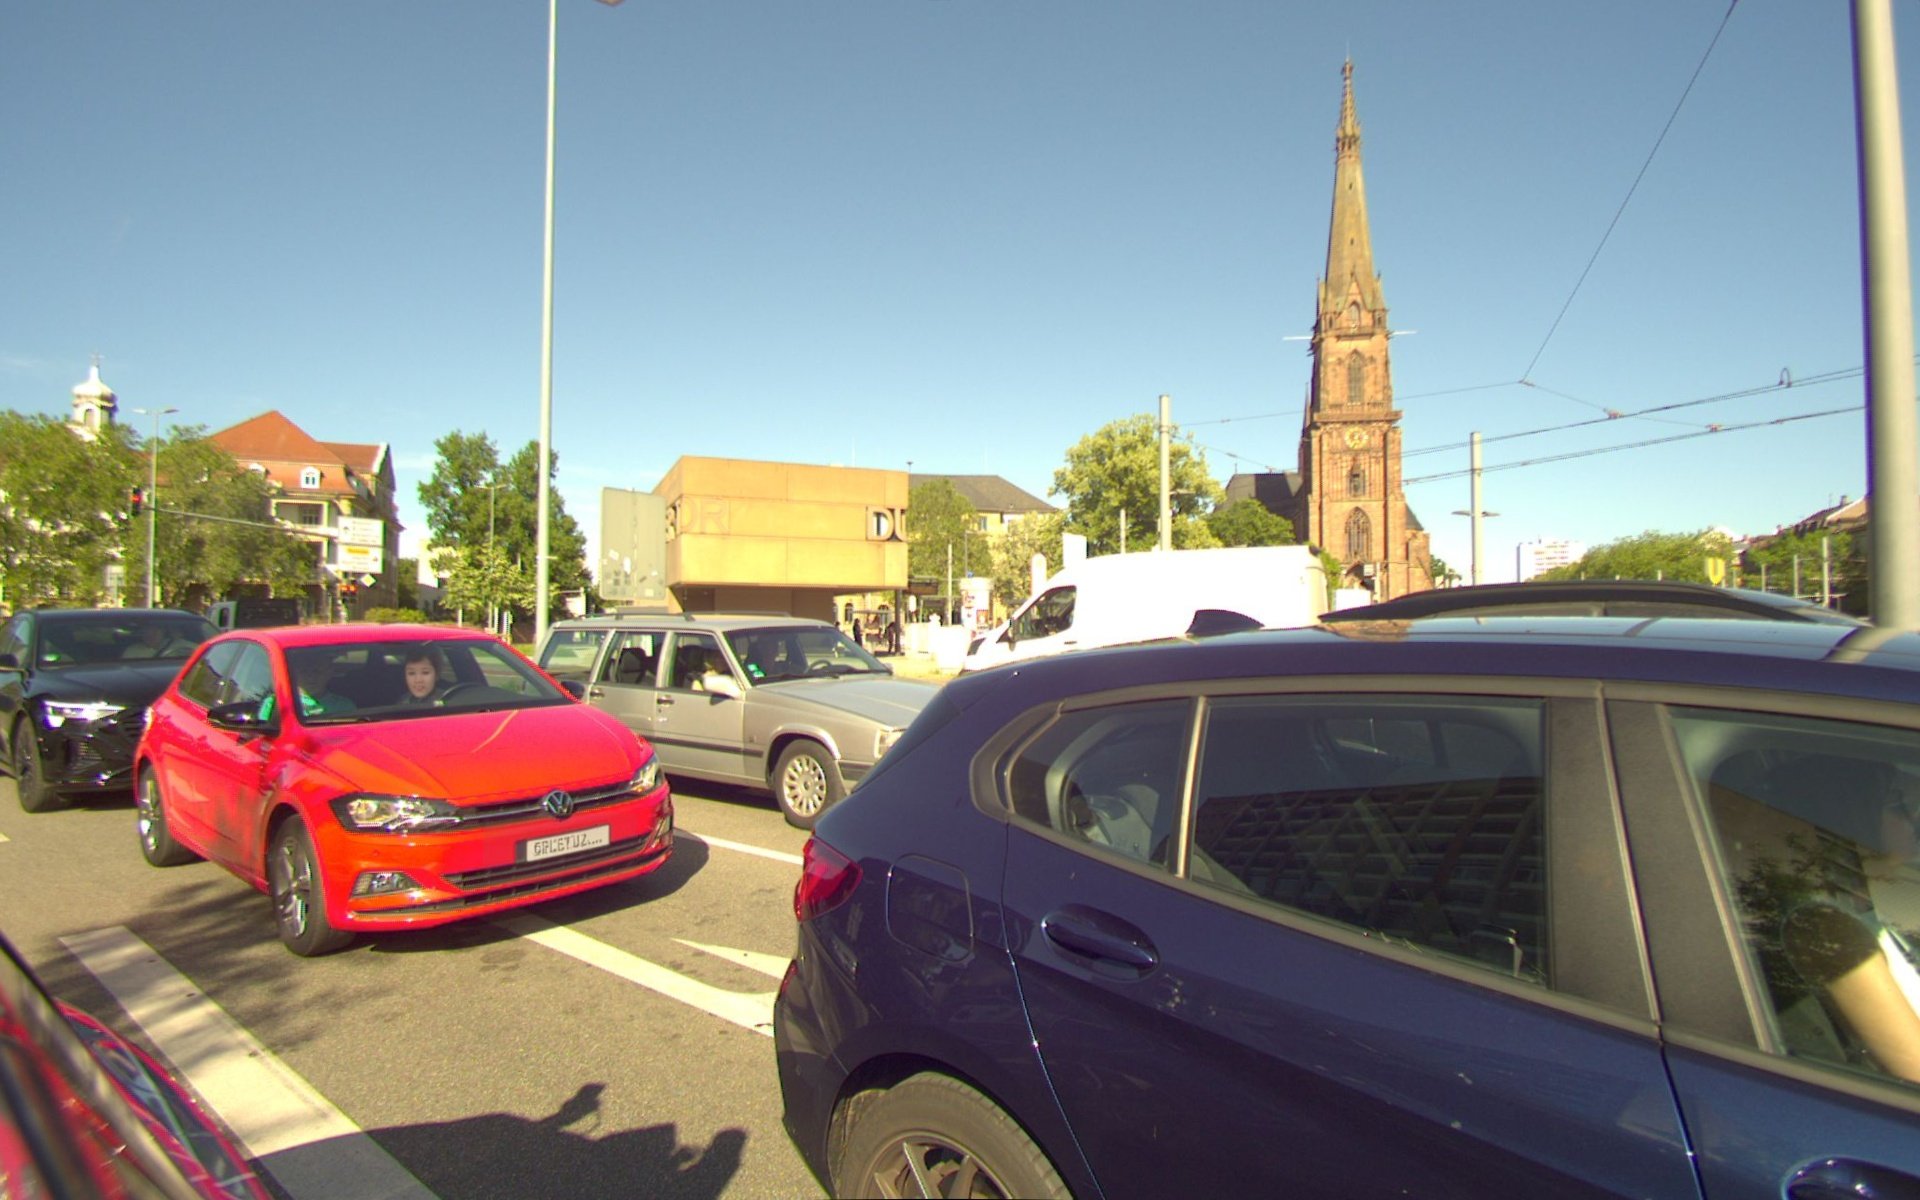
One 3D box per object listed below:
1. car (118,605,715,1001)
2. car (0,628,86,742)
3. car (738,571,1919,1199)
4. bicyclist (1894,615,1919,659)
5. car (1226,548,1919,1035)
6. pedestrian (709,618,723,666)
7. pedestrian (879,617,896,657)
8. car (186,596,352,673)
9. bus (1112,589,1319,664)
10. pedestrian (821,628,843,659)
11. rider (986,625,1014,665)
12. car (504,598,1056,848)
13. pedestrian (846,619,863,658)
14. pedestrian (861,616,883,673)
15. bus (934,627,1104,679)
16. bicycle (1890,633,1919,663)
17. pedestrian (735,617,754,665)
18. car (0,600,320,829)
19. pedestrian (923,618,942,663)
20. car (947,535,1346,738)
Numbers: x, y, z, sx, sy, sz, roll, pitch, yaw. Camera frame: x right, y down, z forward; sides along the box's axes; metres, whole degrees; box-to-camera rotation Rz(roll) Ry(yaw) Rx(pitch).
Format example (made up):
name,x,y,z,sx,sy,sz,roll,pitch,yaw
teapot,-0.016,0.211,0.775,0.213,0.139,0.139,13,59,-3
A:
name,x,y,z,sx,sy,sz,roll,pitch,yaw
car,-3.241,0.808,5.701,3.850,1.484,1.653,-2,-1,40
car,-13.647,1.123,13.936,3.704,1.429,1.557,-1,-1,35
car,1.612,0.695,1.355,4.030,1.456,1.692,-1,-1,42
bicyclist,36.971,1.440,39.414,0.675,1.725,0.612,-1,-2,27
car,3.324,0.615,4.087,4.010,1.529,1.738,-2,-2,44
pedestrian,-9.309,1.593,38.615,0.460,1.789,0.648,0,-2,-21
pedestrian,-3.219,1.648,45.001,0.468,1.789,0.638,-2,-2,36
car,-22.665,1.129,33.124,6.191,2.331,2.095,-1,-2,31
bus,11.636,1.318,48.112,2.715,3.088,12.201,1,-2,-23
pedestrian,-5.464,1.854,43.230,0.635,1.320,0.764,1,-2,-40
rider,1.500,1.669,37.865,0.658,1.475,0.864,1,-2,-30
car,-1.686,0.810,8.235,4.746,1.484,1.692,-2,-1,39
pedestrian,-4.859,1.771,46.561,0.468,1.789,0.638,-2,-2,36
pedestrian,-2.834,1.427,32.624,0.658,1.802,0.646,-1,-1,0
bus,1.476,1.325,26.198,4.174,1.251,1.627,-1,-2,35
bicycle,37.045,1.857,39.397,0.675,1.114,1.881,-1,-2,26
pedestrian,-8.132,1.529,38.199,0.635,1.789,0.618,0,-2,-8
car,-7.814,0.880,9.318,4.446,1.628,1.836,-1,-2,38
pedestrian,-1.123,1.642,41.136,0.634,1.789,0.470,1,-2,-29
car,2.632,0.525,14.788,5.396,2.527,1.980,-1,-2,29
